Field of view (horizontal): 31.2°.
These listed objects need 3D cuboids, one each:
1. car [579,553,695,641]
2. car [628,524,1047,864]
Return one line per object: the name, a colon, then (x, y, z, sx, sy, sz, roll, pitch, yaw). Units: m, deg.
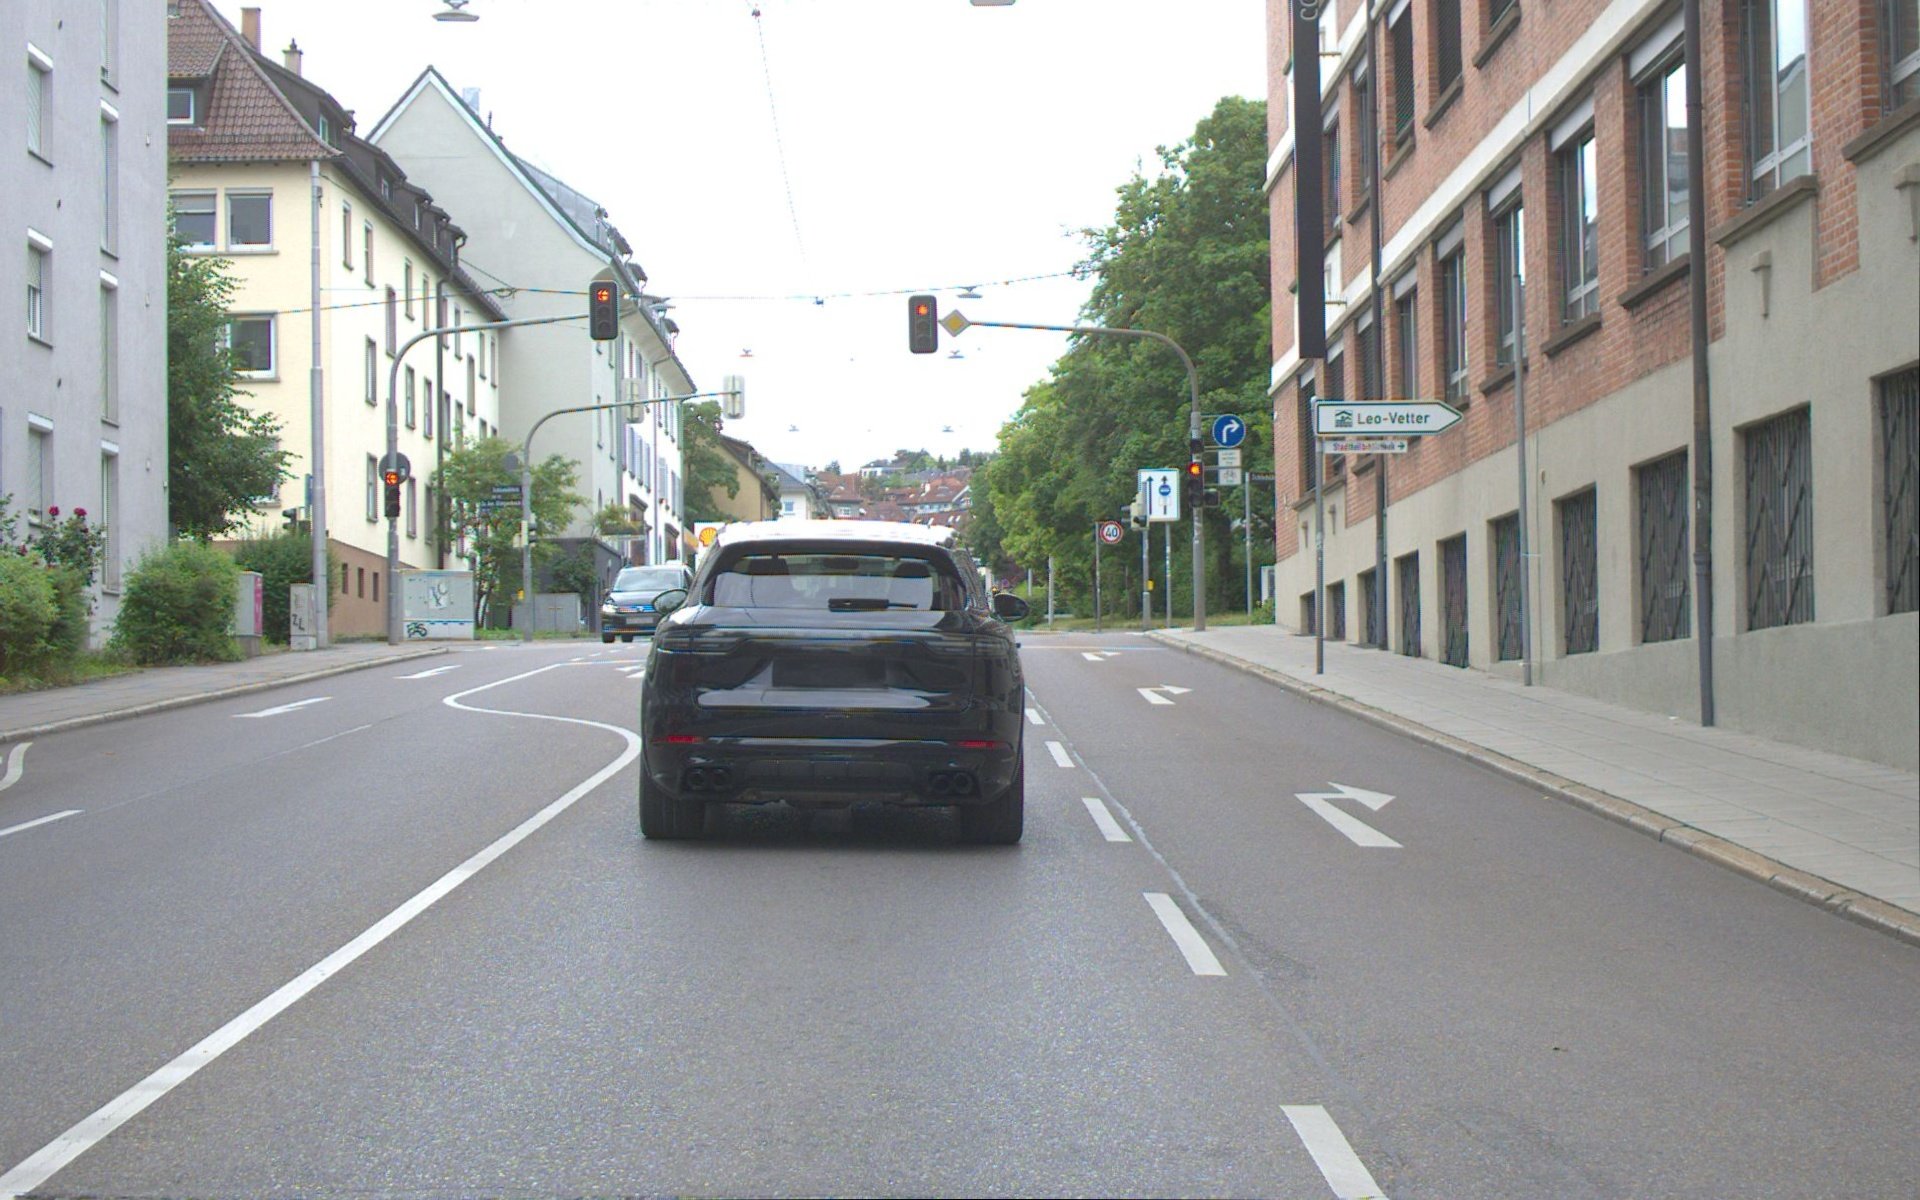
car: (-6.710, -0.091, 71.861, 1.897, 1.686, 4.000, -3, 1, 1)
car: (-0.765, 0.434, 19.009, 2.023, 1.636, 4.357, 1, 1, -4)
